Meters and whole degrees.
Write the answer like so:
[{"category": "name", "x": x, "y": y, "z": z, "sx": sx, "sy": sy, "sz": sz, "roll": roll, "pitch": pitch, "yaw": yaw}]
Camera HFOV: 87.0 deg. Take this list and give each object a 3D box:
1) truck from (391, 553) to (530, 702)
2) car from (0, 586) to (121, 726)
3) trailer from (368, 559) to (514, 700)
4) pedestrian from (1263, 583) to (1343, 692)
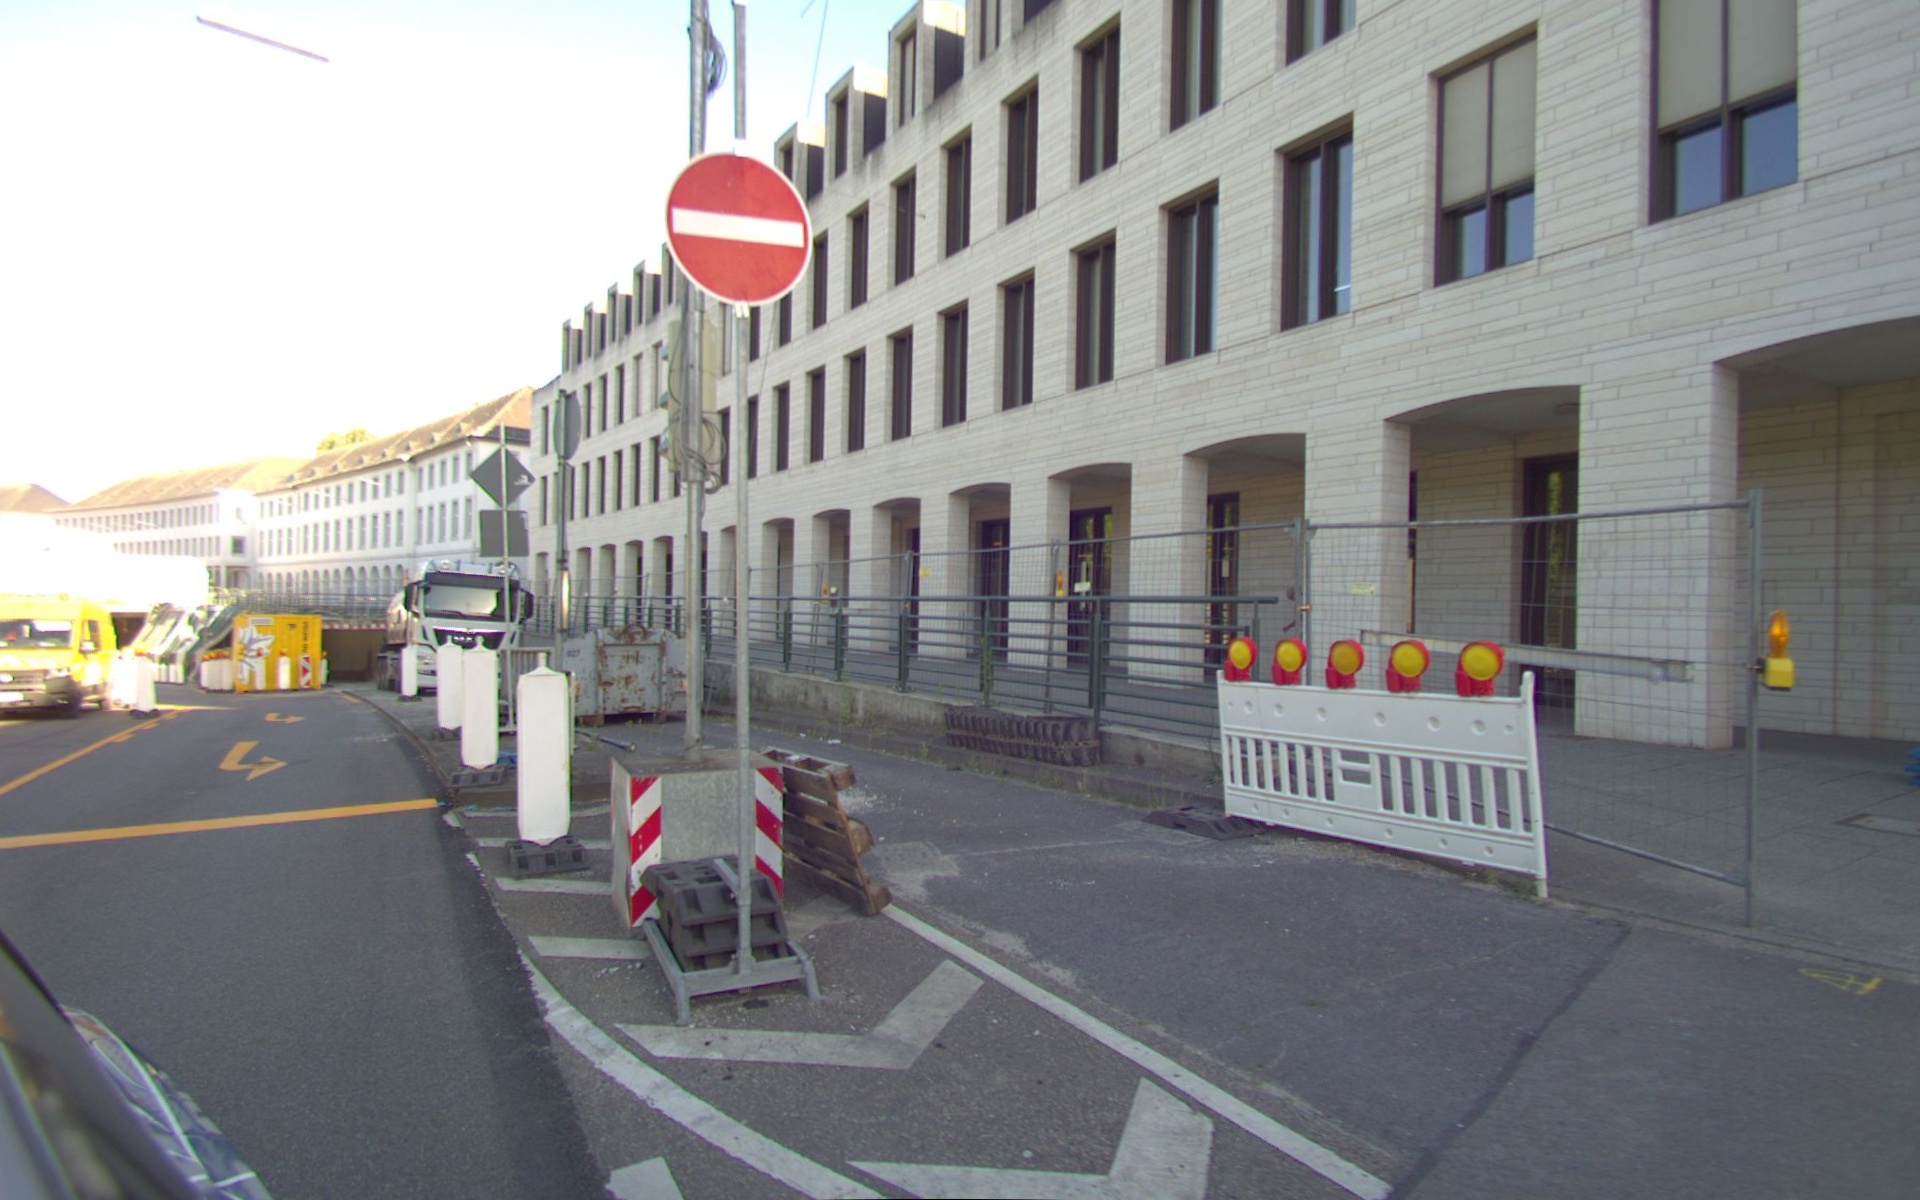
[{"category": "truck", "x": -13.656, "y": 0.878, "z": 27.438, "sx": 2.544, "sy": 3.516, "sz": 5.831, "roll": 5, "pitch": -6, "yaw": -32}, {"category": "car", "x": -20.160, "y": 1.227, "z": 22.153, "sx": 2.083, "sy": 2.645, "sz": 7.004, "roll": 1, "pitch": -3, "yaw": -34}, {"category": "trailer", "x": -16.286, "y": 1.058, "z": 31.397, "sx": 2.606, "sy": 3.697, "sz": 8.769, "roll": 6, "pitch": -6, "yaw": -34}, {"category": "pedestrian", "x": 5.531, "y": 0.597, "z": 16.345, "sx": 0.845, "sy": 1.698, "sz": 0.882, "roll": 2, "pitch": -2, "yaw": -30}]
